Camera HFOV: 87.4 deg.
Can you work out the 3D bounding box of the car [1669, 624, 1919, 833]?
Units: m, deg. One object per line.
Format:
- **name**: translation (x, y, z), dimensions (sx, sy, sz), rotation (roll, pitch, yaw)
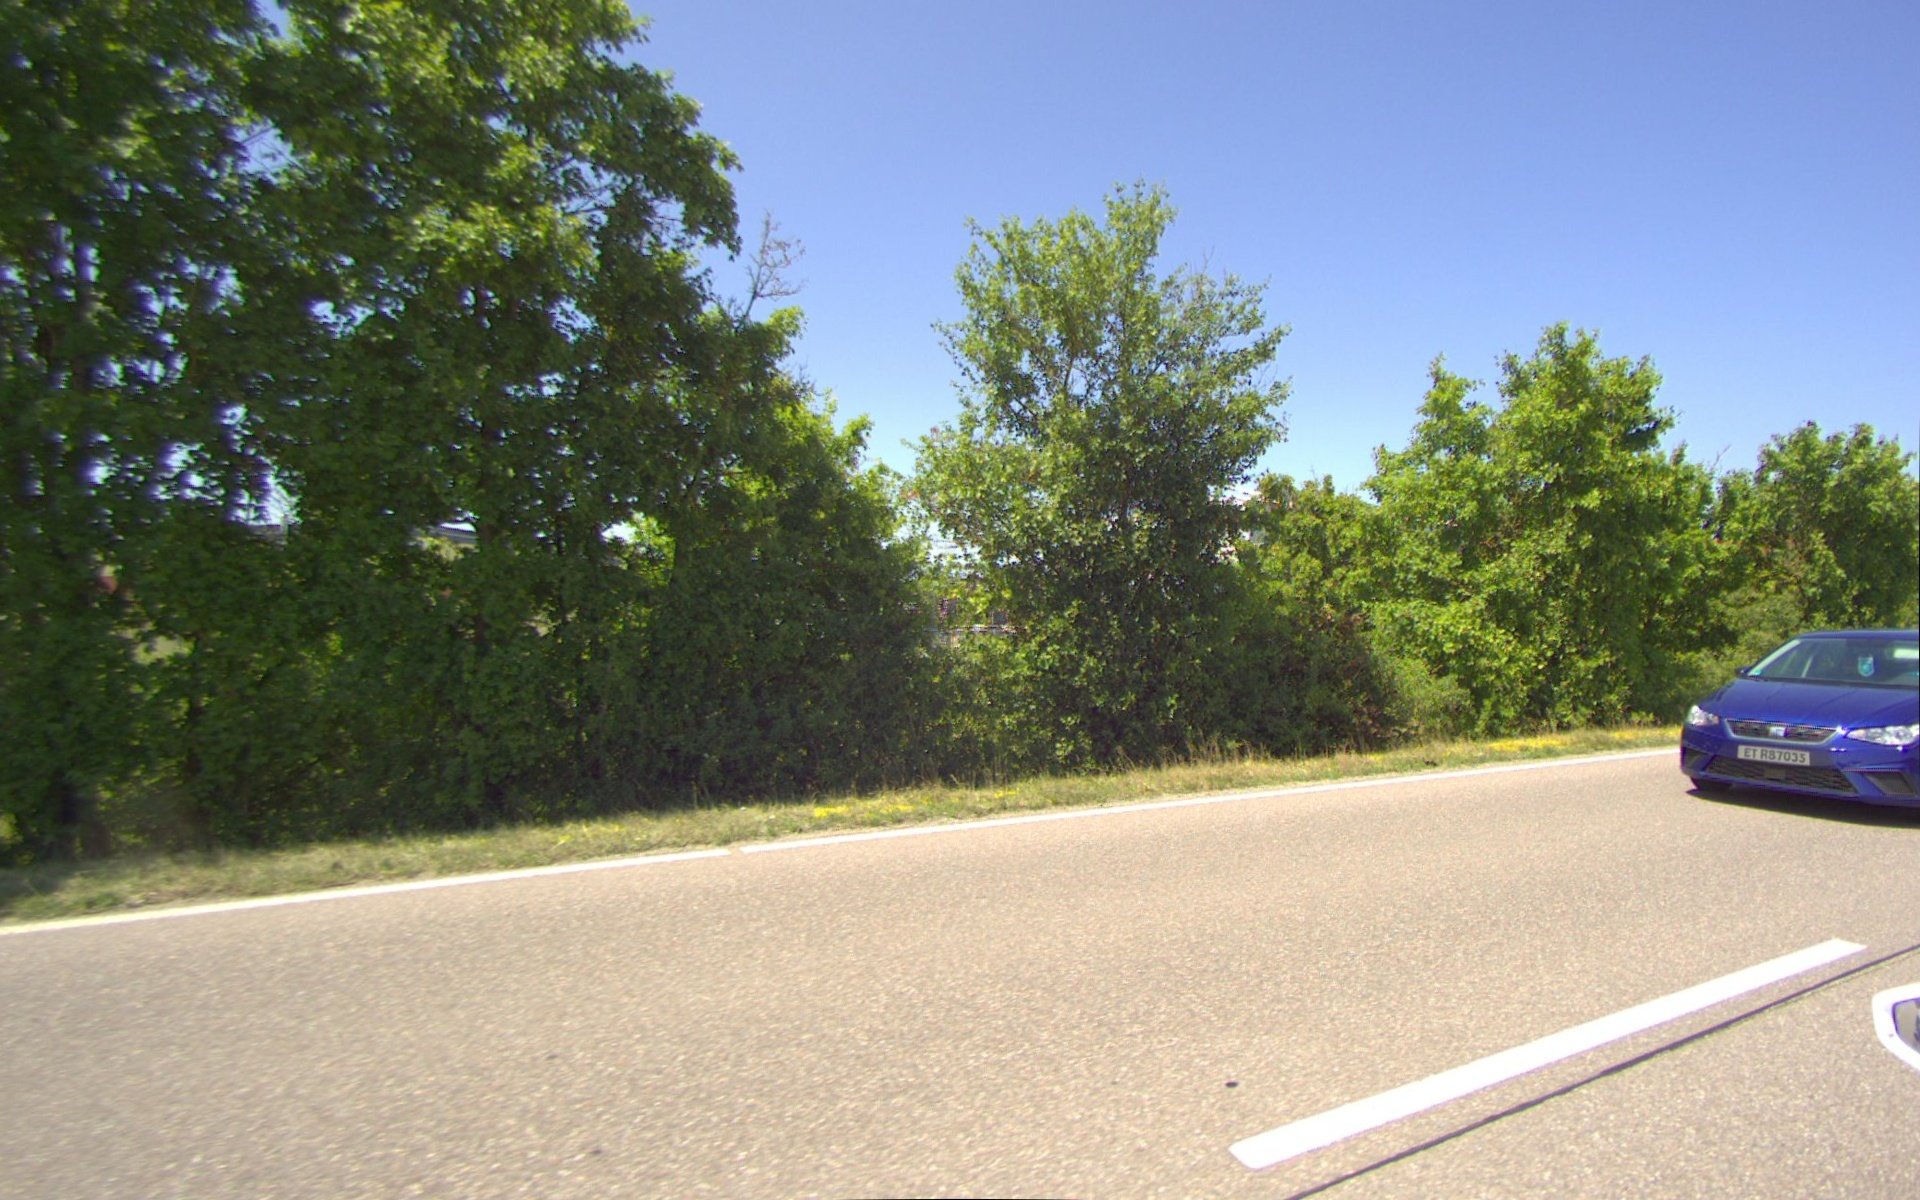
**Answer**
- **car**: translation (8.085, 0.956, 8.716), dimensions (3.952, 1.425, 1.645), rotation (1, 0, -30)
